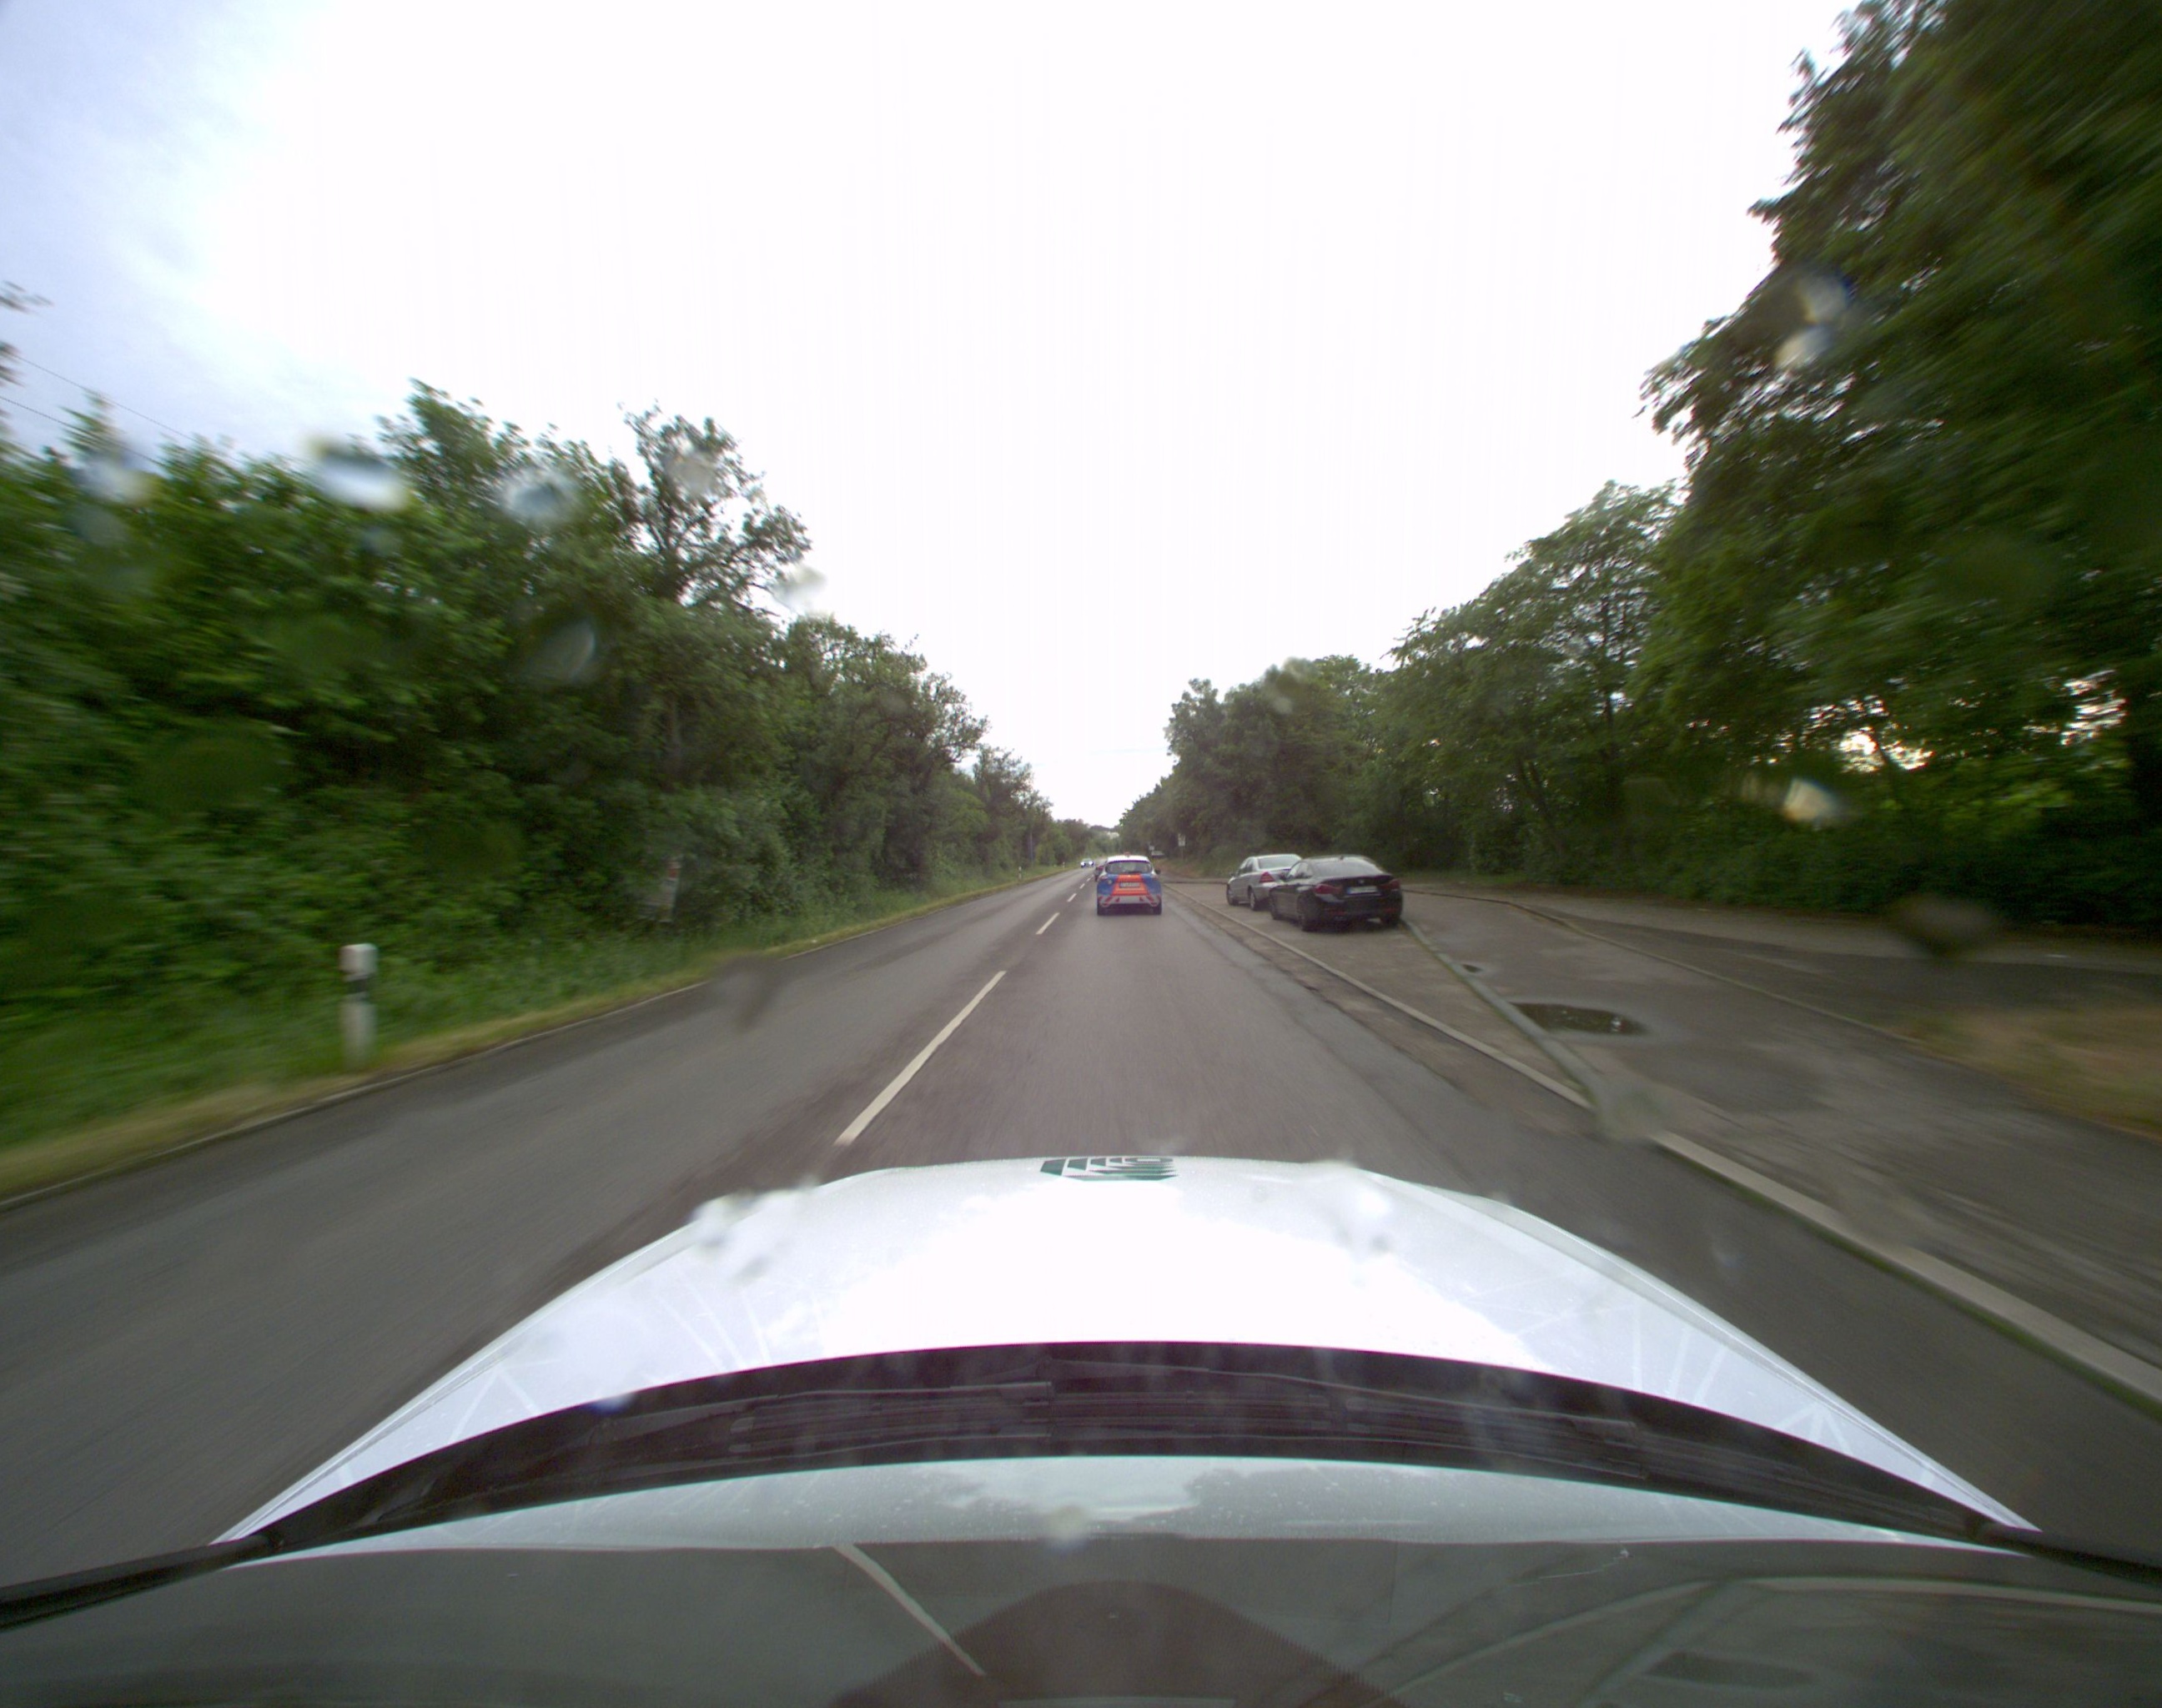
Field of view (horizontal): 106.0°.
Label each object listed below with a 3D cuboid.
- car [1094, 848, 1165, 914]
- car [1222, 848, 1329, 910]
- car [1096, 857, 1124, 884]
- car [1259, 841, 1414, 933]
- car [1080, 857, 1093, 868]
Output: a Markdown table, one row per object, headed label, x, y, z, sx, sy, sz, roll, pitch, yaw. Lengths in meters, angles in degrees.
| label | x | y | z | sx | sy | sz | roll | pitch | yaw |
| --- | --- | --- | --- | --- | --- | --- | --- | --- | --- |
| car | 1.297 | 0.717 | 22.706 | 1.799 | 1.668 | 3.857 | 0 | -1 | 2 |
| car | 5.254 | 0.659 | 22.577 | 1.740 | 1.468 | 4.216 | -4 | -1 | -3 |
| car | 1.799 | 1.006 | 51.043 | 1.688 | 1.595 | 3.856 | 0 | -1 | 1 |
| car | 5.119 | 0.618 | 17.004 | 1.799 | 1.510 | 4.669 | -4 | -1 | 2 |
| car | 0.892 | 1.352 | 129.544 | 1.864 | 1.489 | 4.576 | -5 | -1 | 2 |
